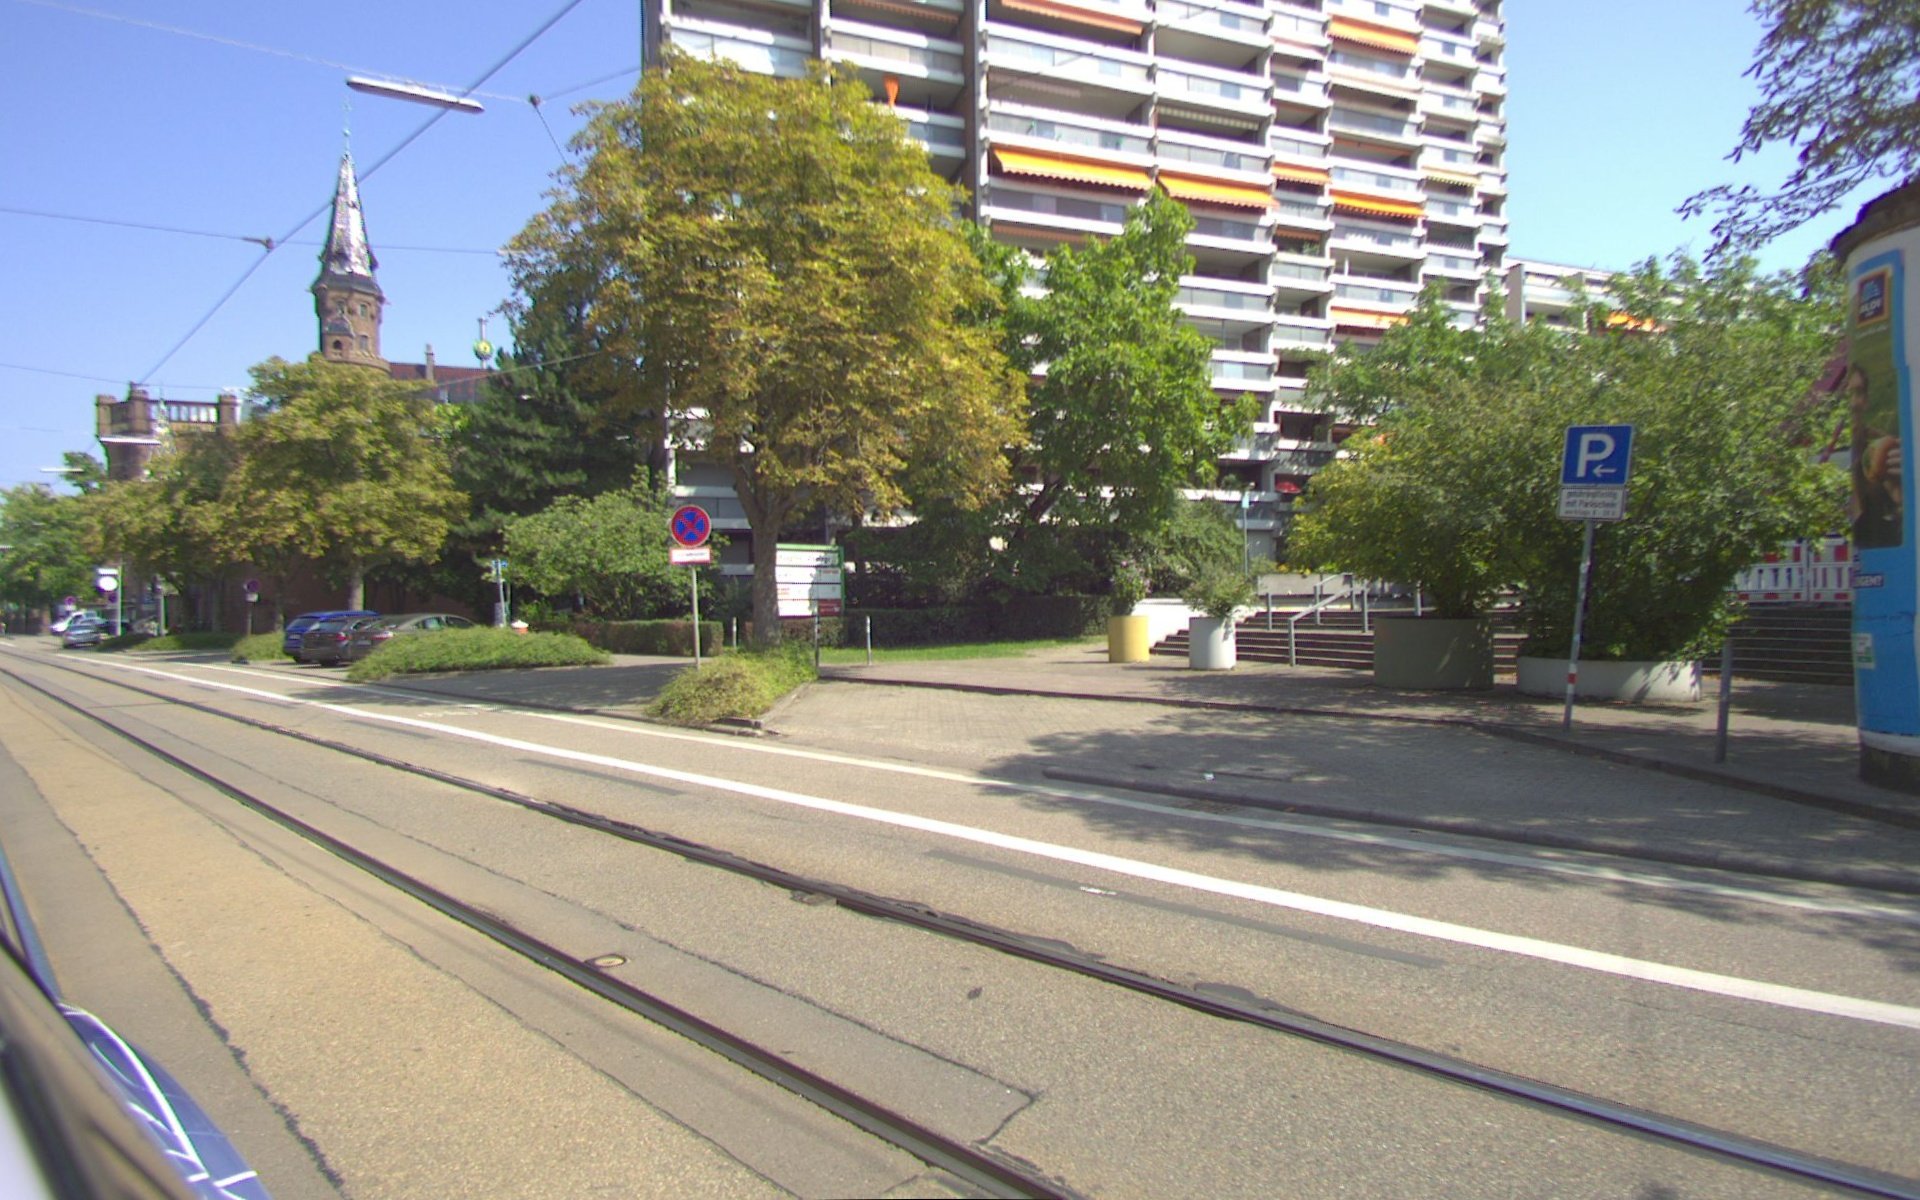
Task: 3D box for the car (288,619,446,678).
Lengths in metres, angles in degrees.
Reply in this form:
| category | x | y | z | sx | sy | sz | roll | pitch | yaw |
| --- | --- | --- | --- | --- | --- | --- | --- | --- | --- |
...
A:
| category | x | y | z | sx | sy | sz | roll | pitch | yaw |
| --- | --- | --- | --- | --- | --- | --- | --- | --- | --- |
| car | -17.724 | 1.404 | 30.470 | 1.765 | 1.582 | 3.978 | -2 | -1 | 16 |

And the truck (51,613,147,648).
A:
| category | x | y | z | sx | sy | sz | roll | pitch | yaw |
| --- | --- | --- | --- | --- | --- | --- | --- | --- | --- |
| truck | -79.313 | 2.783 | 93.282 | 2.318 | 2.543 | 6.424 | -2 | 3 | 44 |

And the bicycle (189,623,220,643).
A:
| category | x | y | z | sx | sy | sz | roll | pitch | yaw |
| --- | --- | --- | --- | --- | --- | --- | --- | --- | --- |
| bicycle | -47.516 | 2.073 | 63.648 | 0.376 | 1.069 | 1.433 | -2 | 4 | 33 |

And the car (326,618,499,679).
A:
| category | x | y | z | sx | sy | sz | roll | pitch | yaw |
| --- | --- | --- | --- | --- | --- | --- | --- | --- | --- |
| car | -15.286 | 1.316 | 28.520 | 1.765 | 1.508 | 4.272 | -2 | -1 | 17 |

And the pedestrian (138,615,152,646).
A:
| category | x | y | z | sx | sy | sz | roll | pitch | yaw |
| --- | --- | --- | --- | --- | --- | --- | --- | --- | --- |
| pedestrian | -53.462 | 2.013 | 66.366 | 0.498 | 1.995 | 0.519 | -1 | 0 | -2 |

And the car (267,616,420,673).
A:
| category | x | y | z | sx | sy | sz | roll | pitch | yaw |
| --- | --- | --- | --- | --- | --- | --- | --- | --- | --- |
| car | -19.920 | 1.410 | 32.879 | 1.828 | 1.660 | 3.973 | -2 | -1 | 20 |

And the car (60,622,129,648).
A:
| category | x | y | z | sx | sy | sz | roll | pitch | yaw |
| --- | --- | --- | --- | --- | --- | --- | --- | --- | --- |
| car | -75.606 | 3.001 | 88.426 | 4.347 | 1.810 | 2.001 | -6 | 3 | -44 |

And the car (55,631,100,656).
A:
| category | x | y | z | sx | sy | sz | roll | pitch | yaw |
| --- | --- | --- | --- | --- | --- | --- | --- | --- | --- |
| car | -55.375 | 2.700 | 63.497 | 1.912 | 1.513 | 4.518 | 0 | -1 | -44 |

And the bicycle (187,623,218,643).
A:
| category | x | y | z | sx | sy | sz | roll | pitch | yaw |
| --- | --- | --- | --- | --- | --- | --- | --- | --- | --- |
| bicycle | -47.777 | 2.081 | 63.829 | 0.376 | 1.069 | 1.433 | -2 | 4 | 33 |
